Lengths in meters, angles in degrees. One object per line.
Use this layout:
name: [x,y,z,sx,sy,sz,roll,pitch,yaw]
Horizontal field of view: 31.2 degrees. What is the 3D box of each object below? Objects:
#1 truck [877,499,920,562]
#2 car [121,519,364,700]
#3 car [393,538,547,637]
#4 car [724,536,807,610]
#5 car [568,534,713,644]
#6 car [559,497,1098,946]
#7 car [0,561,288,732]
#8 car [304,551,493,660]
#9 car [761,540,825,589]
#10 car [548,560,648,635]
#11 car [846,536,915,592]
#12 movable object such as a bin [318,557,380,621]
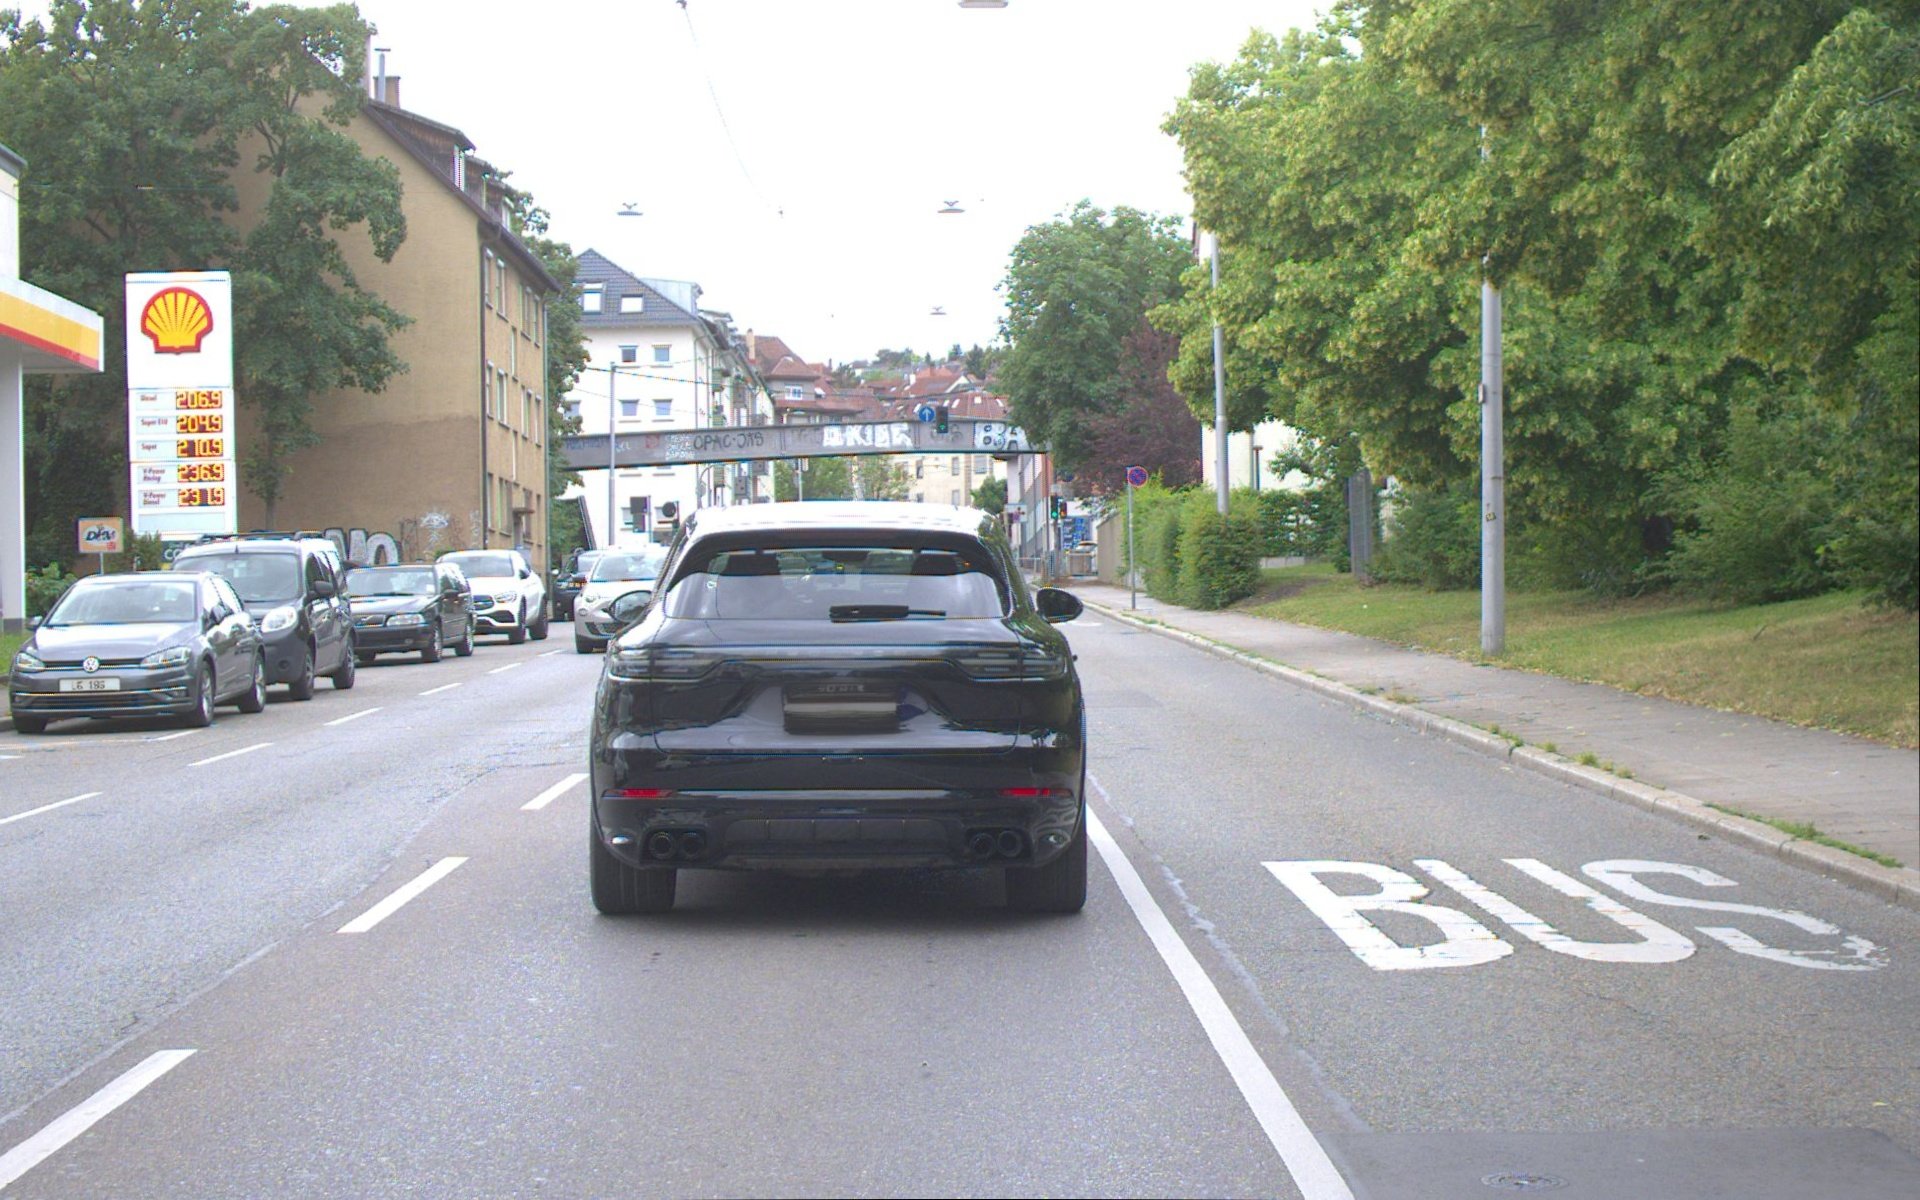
truck: [-3.460,-3.867,194.235,2.266,3.412,9.879,-1,1,-1]
car: [-7.944,0.062,38.480,1.851,1.829,4.702,-2,1,-2]
car: [-8.338,-0.240,58.879,1.915,1.572,4.700,-2,1,0]
car: [-4.309,-0.612,76.373,1.683,1.550,3.719,-2,1,-2]
car: [-4.746,-0.191,51.599,1.797,1.520,4.000,-2,1,-1]
car: [-0.501,0.400,14.792,1.993,1.656,4.000,0,1,0]
car: [-7.763,0.395,32.997,1.790,1.445,4.218,-2,1,-1]
car: [-8.090,0.041,49.949,1.798,1.426,4.743,-2,1,2]
car: [-5.259,-1.141,108.656,1.778,1.461,4.499,-2,1,0]
car: [-8.470,-0.076,80.723,1.783,1.603,4.264,-3,1,1]
car: [-2.075,-0.951,90.278,1.741,1.395,4.000,0,1,0]
movable object such as a bin: [-13.937,-0.254,78.473,1.281,1.423,1.279,0,1,-5]
